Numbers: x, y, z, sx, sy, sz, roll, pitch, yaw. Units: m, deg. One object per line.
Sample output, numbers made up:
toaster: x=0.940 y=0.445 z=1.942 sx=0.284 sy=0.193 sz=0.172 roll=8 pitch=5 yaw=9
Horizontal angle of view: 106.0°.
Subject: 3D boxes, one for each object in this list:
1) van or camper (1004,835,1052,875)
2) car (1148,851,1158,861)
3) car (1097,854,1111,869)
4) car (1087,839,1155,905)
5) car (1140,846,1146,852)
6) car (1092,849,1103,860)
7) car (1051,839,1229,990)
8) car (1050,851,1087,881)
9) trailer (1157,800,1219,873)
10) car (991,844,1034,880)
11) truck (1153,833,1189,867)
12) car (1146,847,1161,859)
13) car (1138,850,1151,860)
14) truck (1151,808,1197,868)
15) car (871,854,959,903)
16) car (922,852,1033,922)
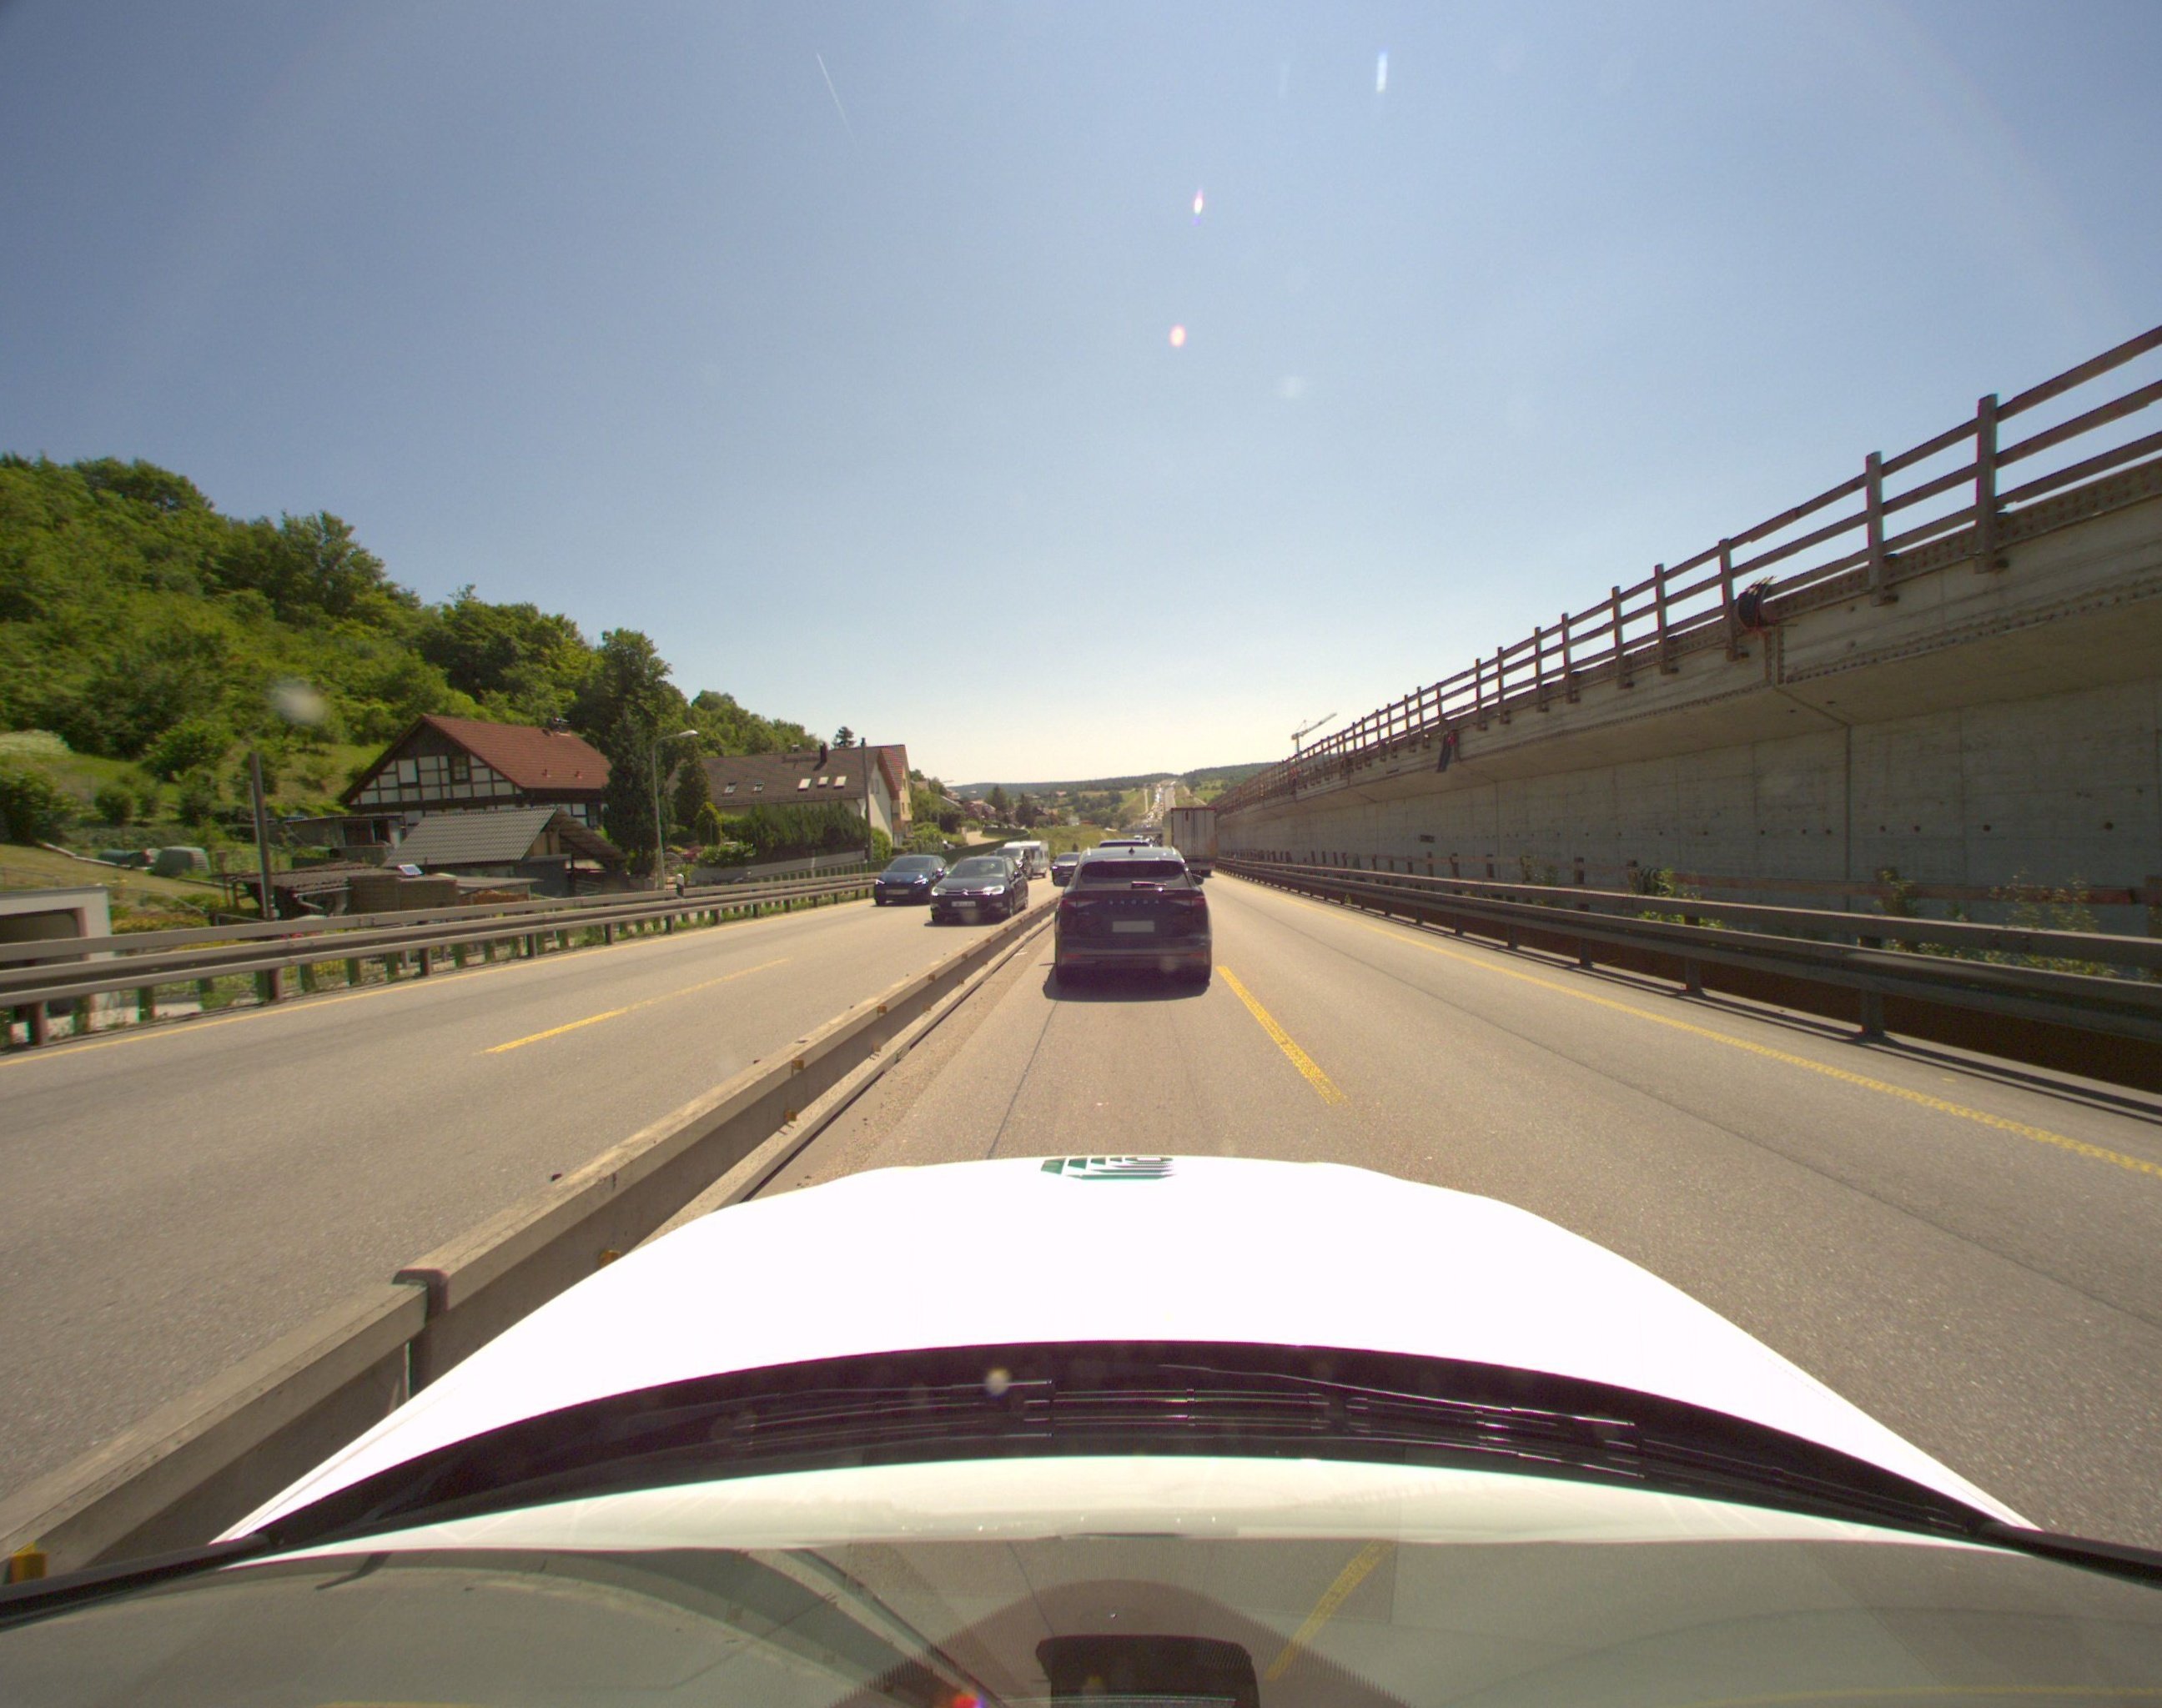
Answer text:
van or camper: x=-3.456 y=0.119 z=54.274 sx=2.344 sy=2.516 sz=6.333 roll=-1 pitch=-1 yaw=4
car: x=13.500 y=0.337 z=152.804 sx=1.693 sy=1.728 sz=3.841 roll=-1 pitch=-1 yaw=5
car: x=2.526 y=0.843 z=88.937 sx=1.540 sy=1.549 sz=3.240 roll=-1 pitch=-1 yaw=3
car: x=1.150 y=0.502 z=25.350 sx=1.703 sy=1.881 sz=3.995 roll=-1 pitch=0 yaw=-3
car: x=18.799 y=-1.577 z=246.132 sx=1.837 sy=1.585 sz=3.839 roll=-1 pitch=-1 yaw=3
car: x=2.677 y=0.163 z=134.095 sx=1.695 sy=1.728 sz=3.836 roll=-1 pitch=-1 yaw=1
car: x=0.561 y=0.679 z=10.632 sx=1.838 sy=1.586 sz=3.902 roll=-1 pitch=-1 yaw=-3
car: x=-0.651 y=0.707 z=47.093 sx=1.865 sy=1.586 sz=4.482 roll=-1 pitch=-1 yaw=2
trailer: x=6.571 y=-0.867 z=51.802 sx=2.523 sy=4.127 sz=11.547 roll=-1 pitch=-1 yaw=1
car: x=-3.905 y=0.476 z=47.090 sx=1.986 sy=2.014 sz=4.002 roll=-1 pitch=-1 yaw=2
truck: x=9.385 y=-0.321 z=85.903 sx=3.181 sy=3.191 sz=12.821 roll=-1 pitch=-1 yaw=4
car: x=10.830 y=-0.147 z=121.450 sx=1.986 sy=1.585 sz=3.837 roll=-1 pitch=-1 yaw=1
car: x=10.713 y=0.244 z=138.012 sx=1.986 sy=1.585 sz=3.837 roll=-1 pitch=-1 yaw=1
truck: x=6.647 y=-1.033 z=59.317 sx=2.504 sy=4.025 sz=8.238 roll=-1 pitch=-1 yaw=1
car: x=-5.352 y=0.789 z=26.801 sx=1.835 sy=1.460 sz=4.180 roll=-1 pitch=-1 yaw=2
car: x=-2.383 y=0.757 z=19.918 sx=1.986 sy=1.504 sz=4.650 roll=-1 pitch=-1 yaw=1
